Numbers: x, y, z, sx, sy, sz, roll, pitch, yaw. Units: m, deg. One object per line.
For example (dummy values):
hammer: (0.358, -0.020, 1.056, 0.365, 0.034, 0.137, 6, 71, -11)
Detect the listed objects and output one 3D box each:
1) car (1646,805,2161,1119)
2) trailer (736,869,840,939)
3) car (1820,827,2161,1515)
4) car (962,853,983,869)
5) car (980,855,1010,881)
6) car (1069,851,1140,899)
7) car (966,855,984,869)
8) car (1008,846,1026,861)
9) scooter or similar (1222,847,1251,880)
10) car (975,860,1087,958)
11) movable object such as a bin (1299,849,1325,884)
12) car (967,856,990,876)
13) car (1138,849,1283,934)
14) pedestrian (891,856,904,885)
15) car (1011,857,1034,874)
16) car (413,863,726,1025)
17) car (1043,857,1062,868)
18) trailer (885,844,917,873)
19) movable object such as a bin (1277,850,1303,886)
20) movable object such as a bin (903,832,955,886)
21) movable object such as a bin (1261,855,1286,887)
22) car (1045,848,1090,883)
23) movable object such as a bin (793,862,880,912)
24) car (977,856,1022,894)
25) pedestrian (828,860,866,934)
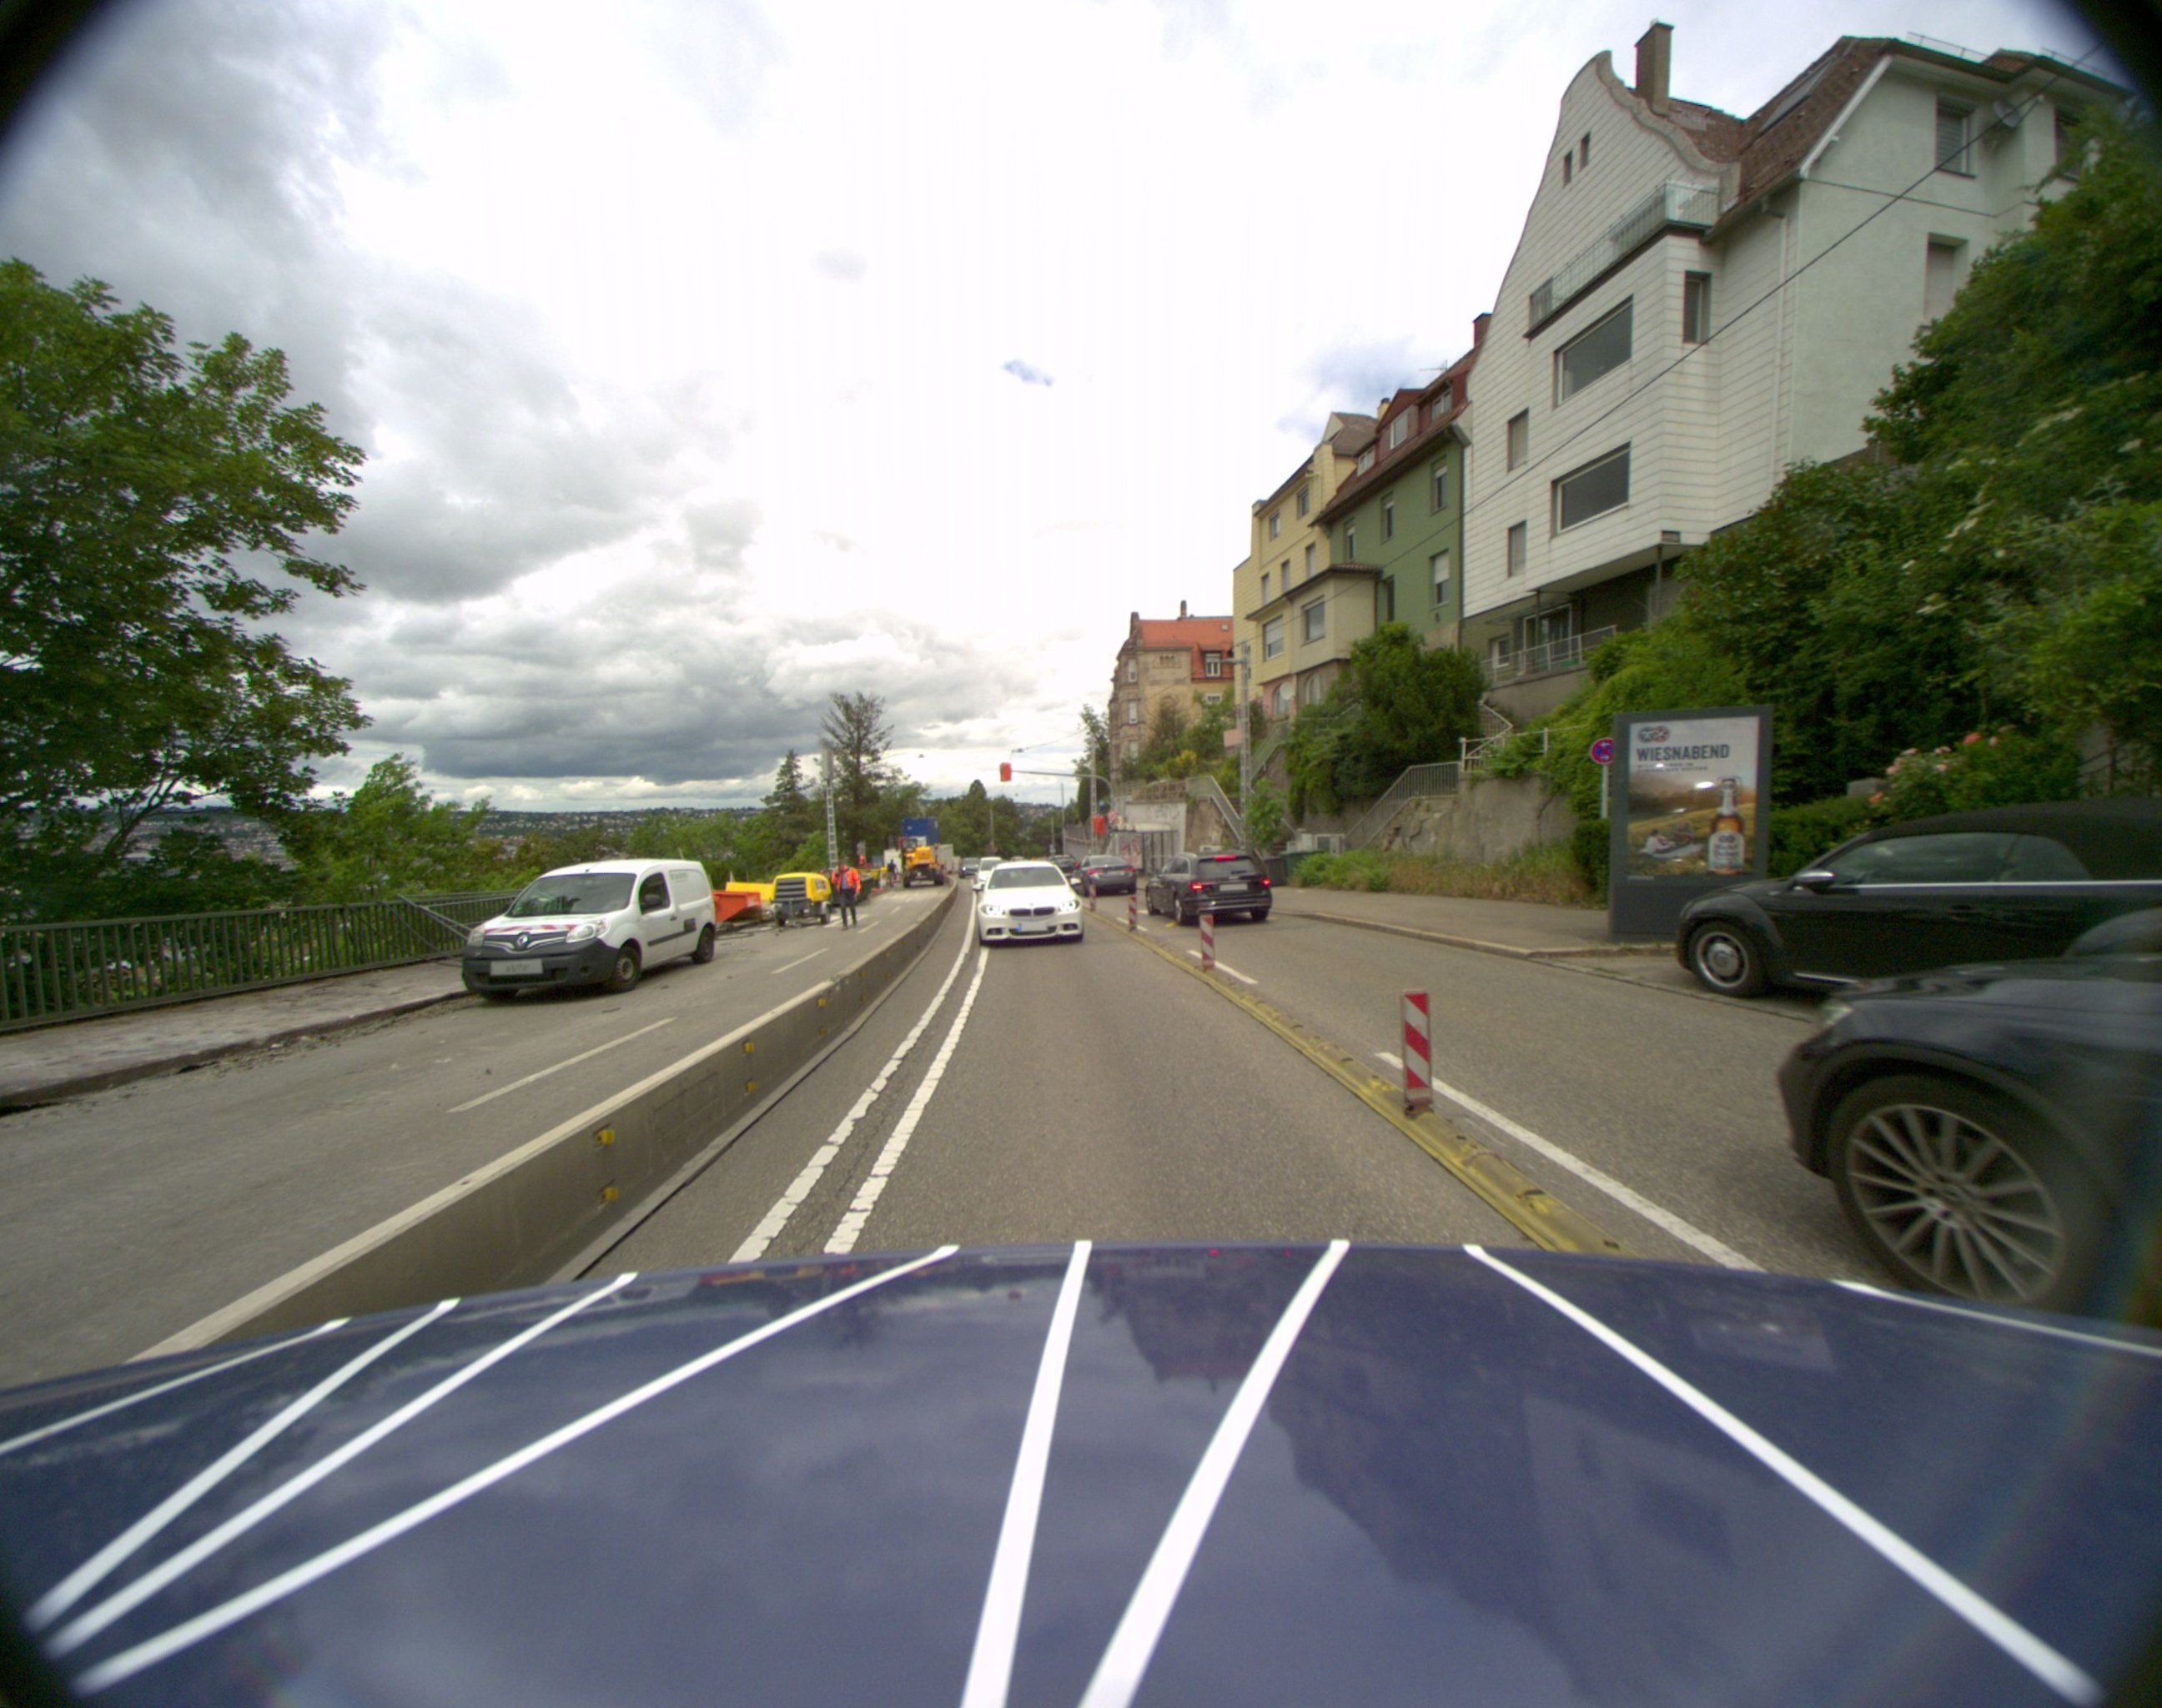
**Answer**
car: (6.193, 0.505, 4.958, 1.799, 1.501, 3.998, -5, 1, -3)
trailer: (-7.249, 1.180, 19.126, 1.292, 1.466, 3.633, -3, 0, -3)
car: (3.307, 0.703, 0.378, 1.772, 1.558, 4.230, -3, 0, 1)
car: (-10.869, 0.681, 76.478, 1.799, 1.501, 3.998, 0, 1, -5)
car: (-5.433, 0.840, 47.673, 1.793, 1.542, 4.242, -1, 0, -8)
car: (0.778, 0.695, 27.886, 1.801, 1.473, 4.325, -4, 1, -8)
car: (-12.233, 0.932, 87.600, 1.799, 1.501, 3.998, 0, 1, -5)
car: (-7.130, -0.028, 85.026, 1.847, 1.590, 4.262, -2, 0, -4)
scooter or similar: (5.880, 0.364, 28.799, 0.461, 1.198, 1.434, -5, 1, -12)
car: (-1.035, 0.925, 14.754, 1.793, 1.472, 4.242, -3, 0, -6)
movable object such as a bin: (7.131, 0.373, 23.443, 0.469, 1.047, 0.623, -4, 1, -9)
car: (-8.256, 0.961, 61.180, 1.800, 1.501, 3.996, 0, 1, -8)
car: (2.567, 0.688, 16.237, 1.801, 1.438, 4.359, -4, 1, -7)
pedestrian: (-11.780, 1.048, 48.726, 0.692, 1.784, 0.539, -3, 0, -21)
car: (-5.337, 1.059, 68.909, 1.732, 1.411, 3.819, -3, -2, -8)
car: (-6.987, 1.076, 11.054, 1.838, 1.769, 4.266, -2, 0, -5)
car: (-3.513, 1.028, 94.313, 1.803, 1.365, 4.390, 1, 0, 6)
trailer: (-16.274, 0.355, 68.924, 2.113, 2.535, 5.116, 0, 0, -5)
movable object such as a bin: (6.386, 0.417, 23.246, 0.469, 1.047, 0.623, -4, 1, -9)
movable object such as a bin: (-9.782, 0.306, 48.290, 2.821, 3.053, 7.814, -3, 0, -13)
movable object such as a bin: (5.873, 0.513, 23.165, 0.469, 0.929, 0.623, -4, 1, -9)
car: (-0.743, 0.565, 39.504, 1.821, 1.613, 3.816, -4, 1, -8)
movable object such as a bin: (-9.528, 1.195, 30.285, 2.382, 1.552, 7.092, -3, 1, -11)
car: (-3.672, 0.875, 33.971, 1.793, 1.472, 4.242, -3, 0, -7)
pedestrian: (-5.539, 1.001, 18.041, 0.647, 1.692, 0.849, -4, 1, -9)
